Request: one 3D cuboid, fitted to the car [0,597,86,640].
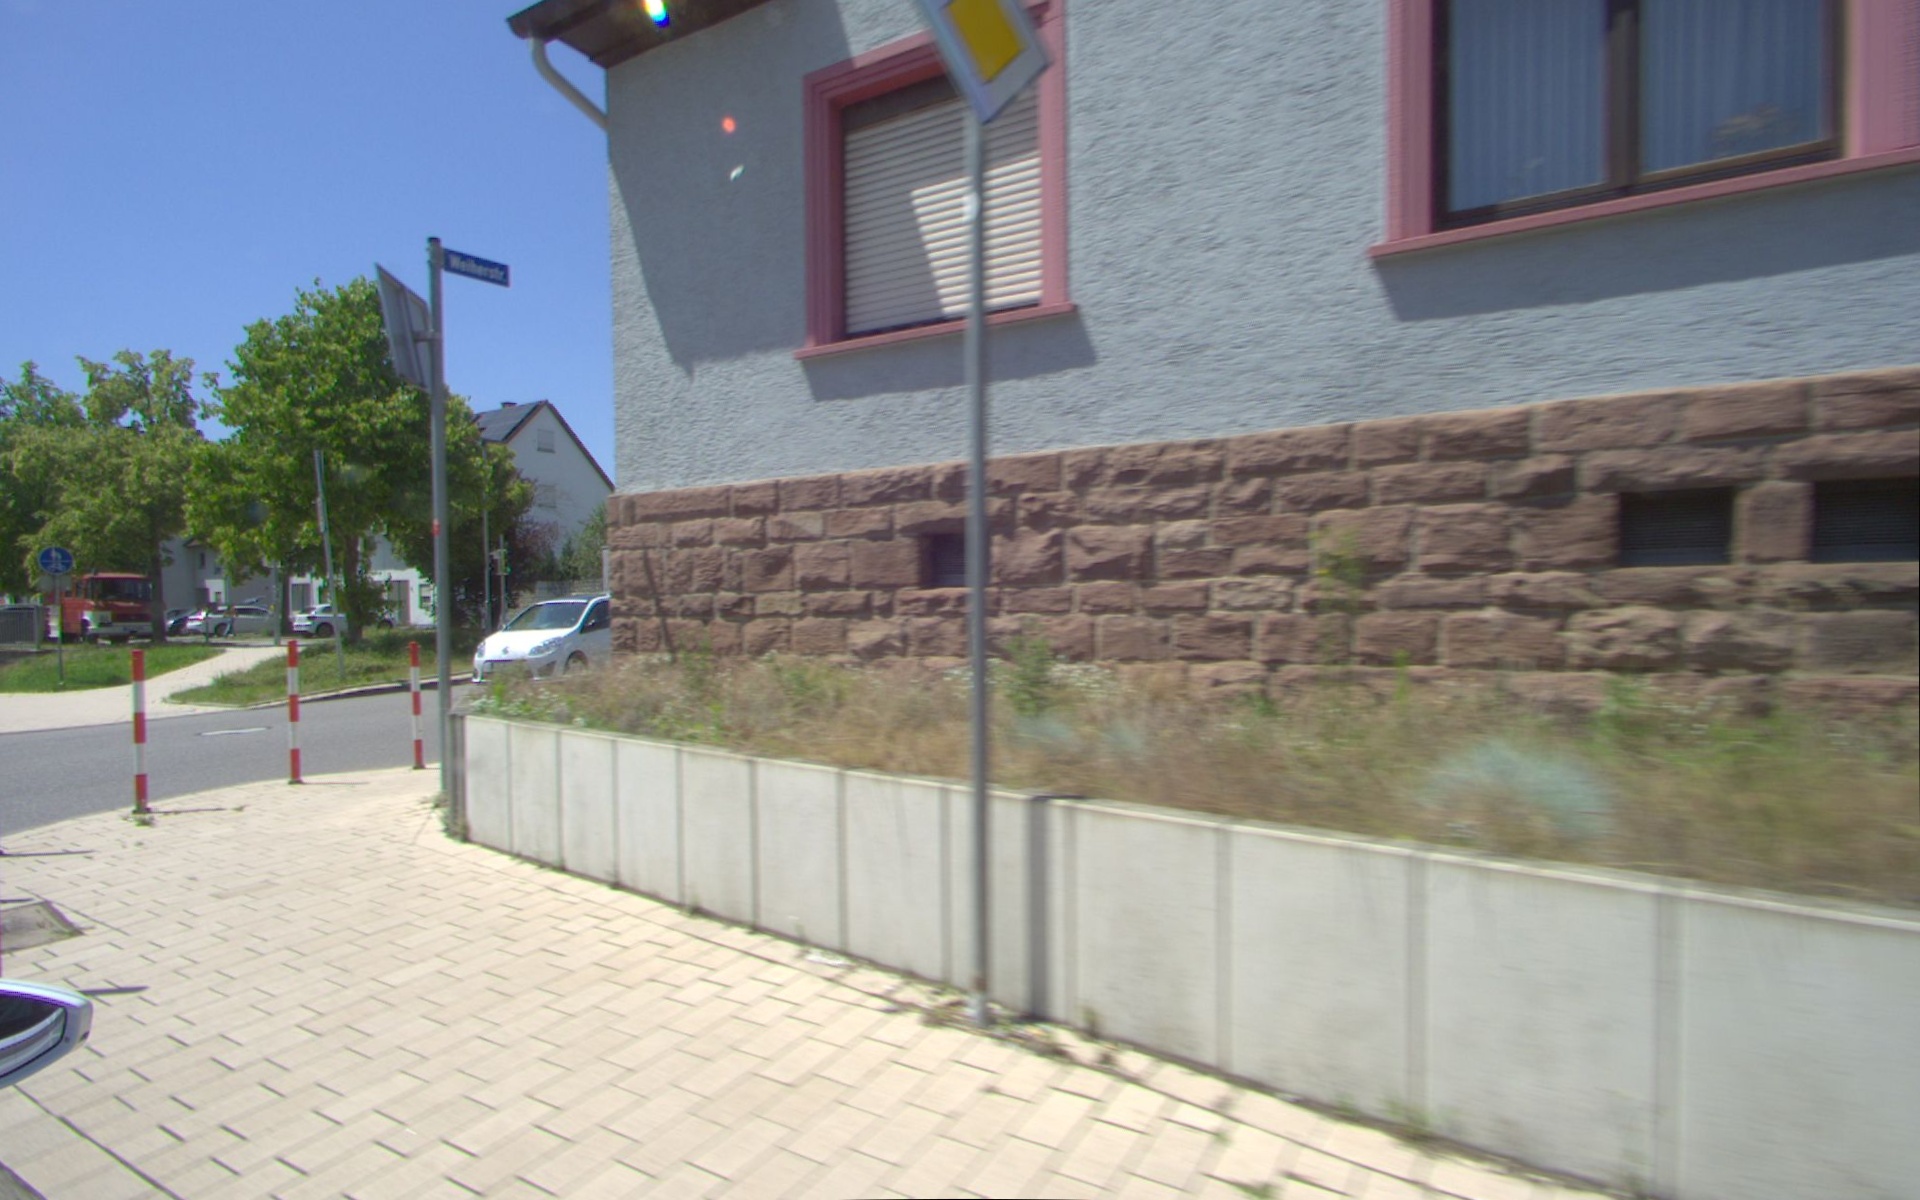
[{"bbox_3d":[-34.583,0.665,36.367,1.725,1.518,3.976,-1,0,34],"label":"car"}]

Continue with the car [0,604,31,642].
[{"bbox_3d":[-39.139,0.928,38.895,1.663,1.518,4.193,-1,0,34],"label":"car"}]

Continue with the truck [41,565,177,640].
[{"bbox_3d":[-28.891,0.131,33.956,5.186,2.365,2.127,-1,0,33],"label":"truck"}]

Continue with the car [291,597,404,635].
[{"bbox_3d":[-27.427,0.684,44.931,1.733,1.498,3.926,-1,1,33],"label":"car"}]

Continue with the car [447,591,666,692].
[{"bbox_3d":[-6.763,0.633,17.237,1.742,1.498,3.679,-2,0,10],"label":"car"}]

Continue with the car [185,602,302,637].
[{"bbox_3d":[-35.974,0.956,50.380,1.733,1.510,4.393,-1,1,33],"label":"car"}]

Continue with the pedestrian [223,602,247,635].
[{"bbox_3d":[-34.043,0.868,47.039,0.603,1.532,0.739,-3,3,-17],"label":"pedestrian"}]

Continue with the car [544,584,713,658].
[{"bbox_3d":[-7.982,0.506,23.977,4.074,1.556,1.763,-2,2,37],"label":"car"}]

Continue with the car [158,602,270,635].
[{"bbox_3d":[-39.461,0.953,53.083,1.733,1.510,4.393,-1,1,33],"label":"car"}]
